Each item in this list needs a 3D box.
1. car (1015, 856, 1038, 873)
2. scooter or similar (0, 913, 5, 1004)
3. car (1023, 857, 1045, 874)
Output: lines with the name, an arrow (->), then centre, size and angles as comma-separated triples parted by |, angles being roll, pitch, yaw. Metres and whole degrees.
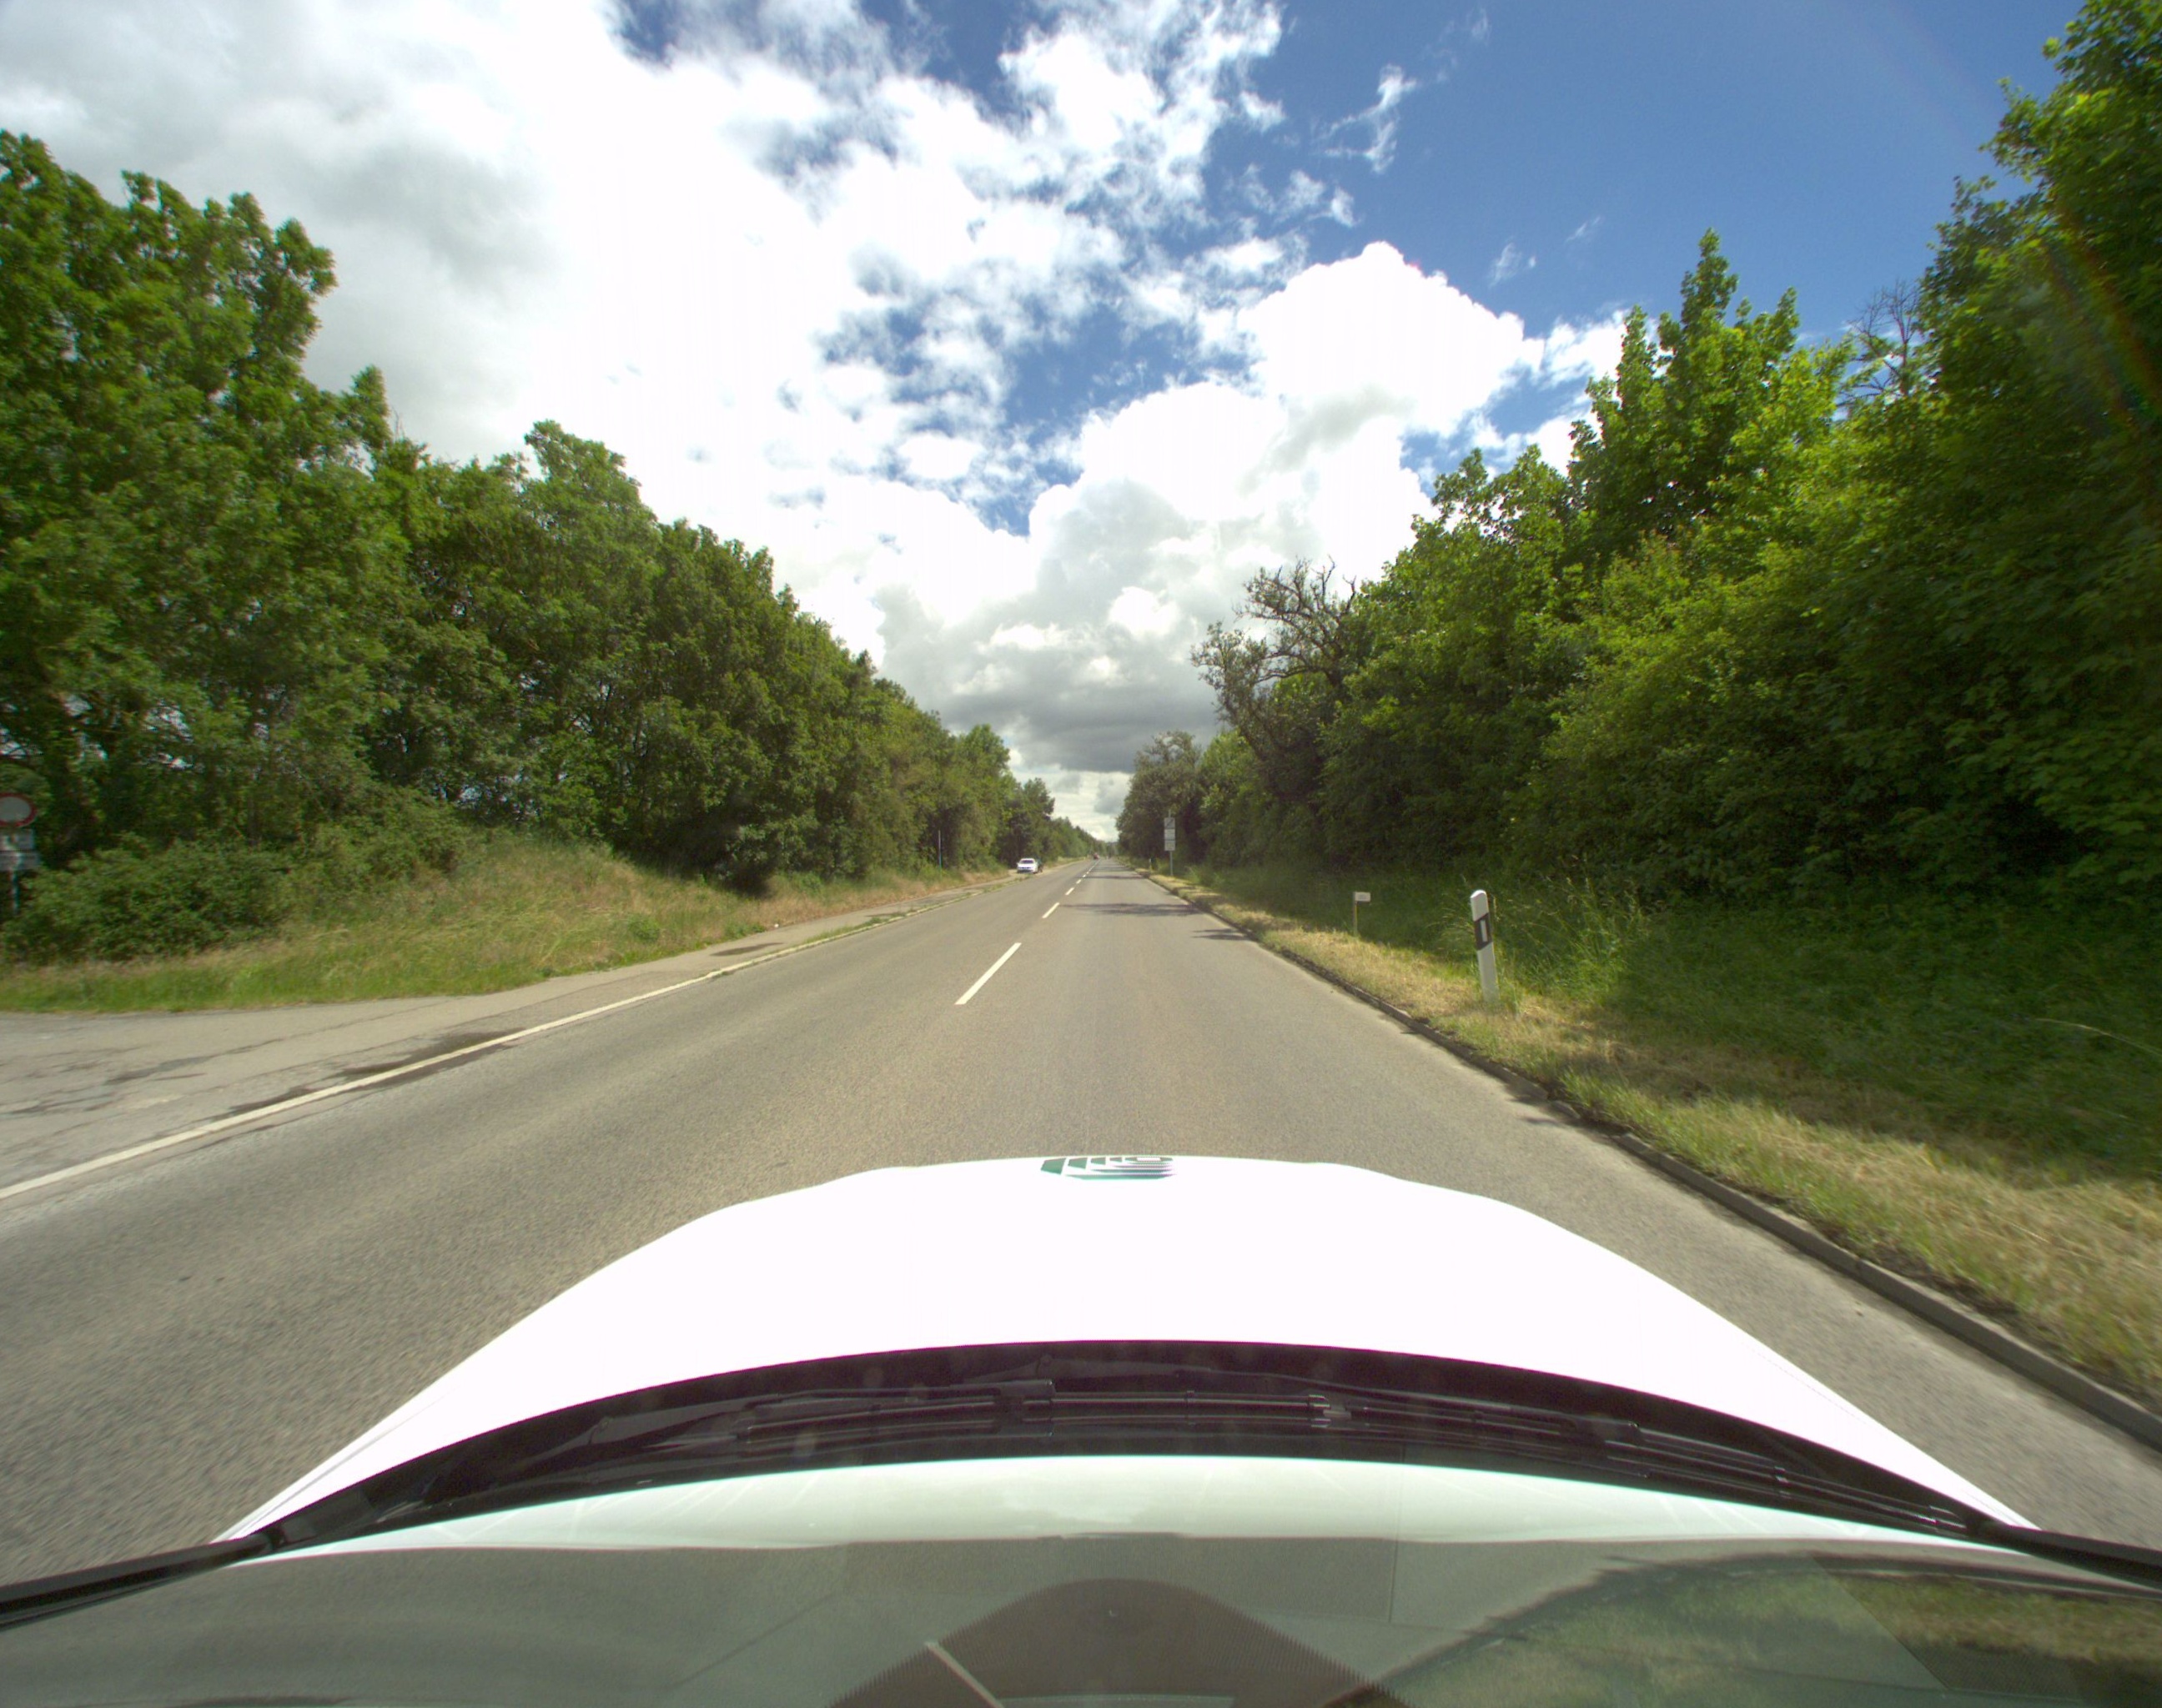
car -> -5.174, 1.039, 77.963 | 1.791, 1.543, 3.956 | -2, -1, 2
scooter or similar -> -14.514, 1.354, 10.432 | 1.234, 1.168, 0.408 | -1, 0, 14
car -> -4.938, 1.189, 85.682 | 1.791, 1.625, 3.958 | -2, 1, 3
